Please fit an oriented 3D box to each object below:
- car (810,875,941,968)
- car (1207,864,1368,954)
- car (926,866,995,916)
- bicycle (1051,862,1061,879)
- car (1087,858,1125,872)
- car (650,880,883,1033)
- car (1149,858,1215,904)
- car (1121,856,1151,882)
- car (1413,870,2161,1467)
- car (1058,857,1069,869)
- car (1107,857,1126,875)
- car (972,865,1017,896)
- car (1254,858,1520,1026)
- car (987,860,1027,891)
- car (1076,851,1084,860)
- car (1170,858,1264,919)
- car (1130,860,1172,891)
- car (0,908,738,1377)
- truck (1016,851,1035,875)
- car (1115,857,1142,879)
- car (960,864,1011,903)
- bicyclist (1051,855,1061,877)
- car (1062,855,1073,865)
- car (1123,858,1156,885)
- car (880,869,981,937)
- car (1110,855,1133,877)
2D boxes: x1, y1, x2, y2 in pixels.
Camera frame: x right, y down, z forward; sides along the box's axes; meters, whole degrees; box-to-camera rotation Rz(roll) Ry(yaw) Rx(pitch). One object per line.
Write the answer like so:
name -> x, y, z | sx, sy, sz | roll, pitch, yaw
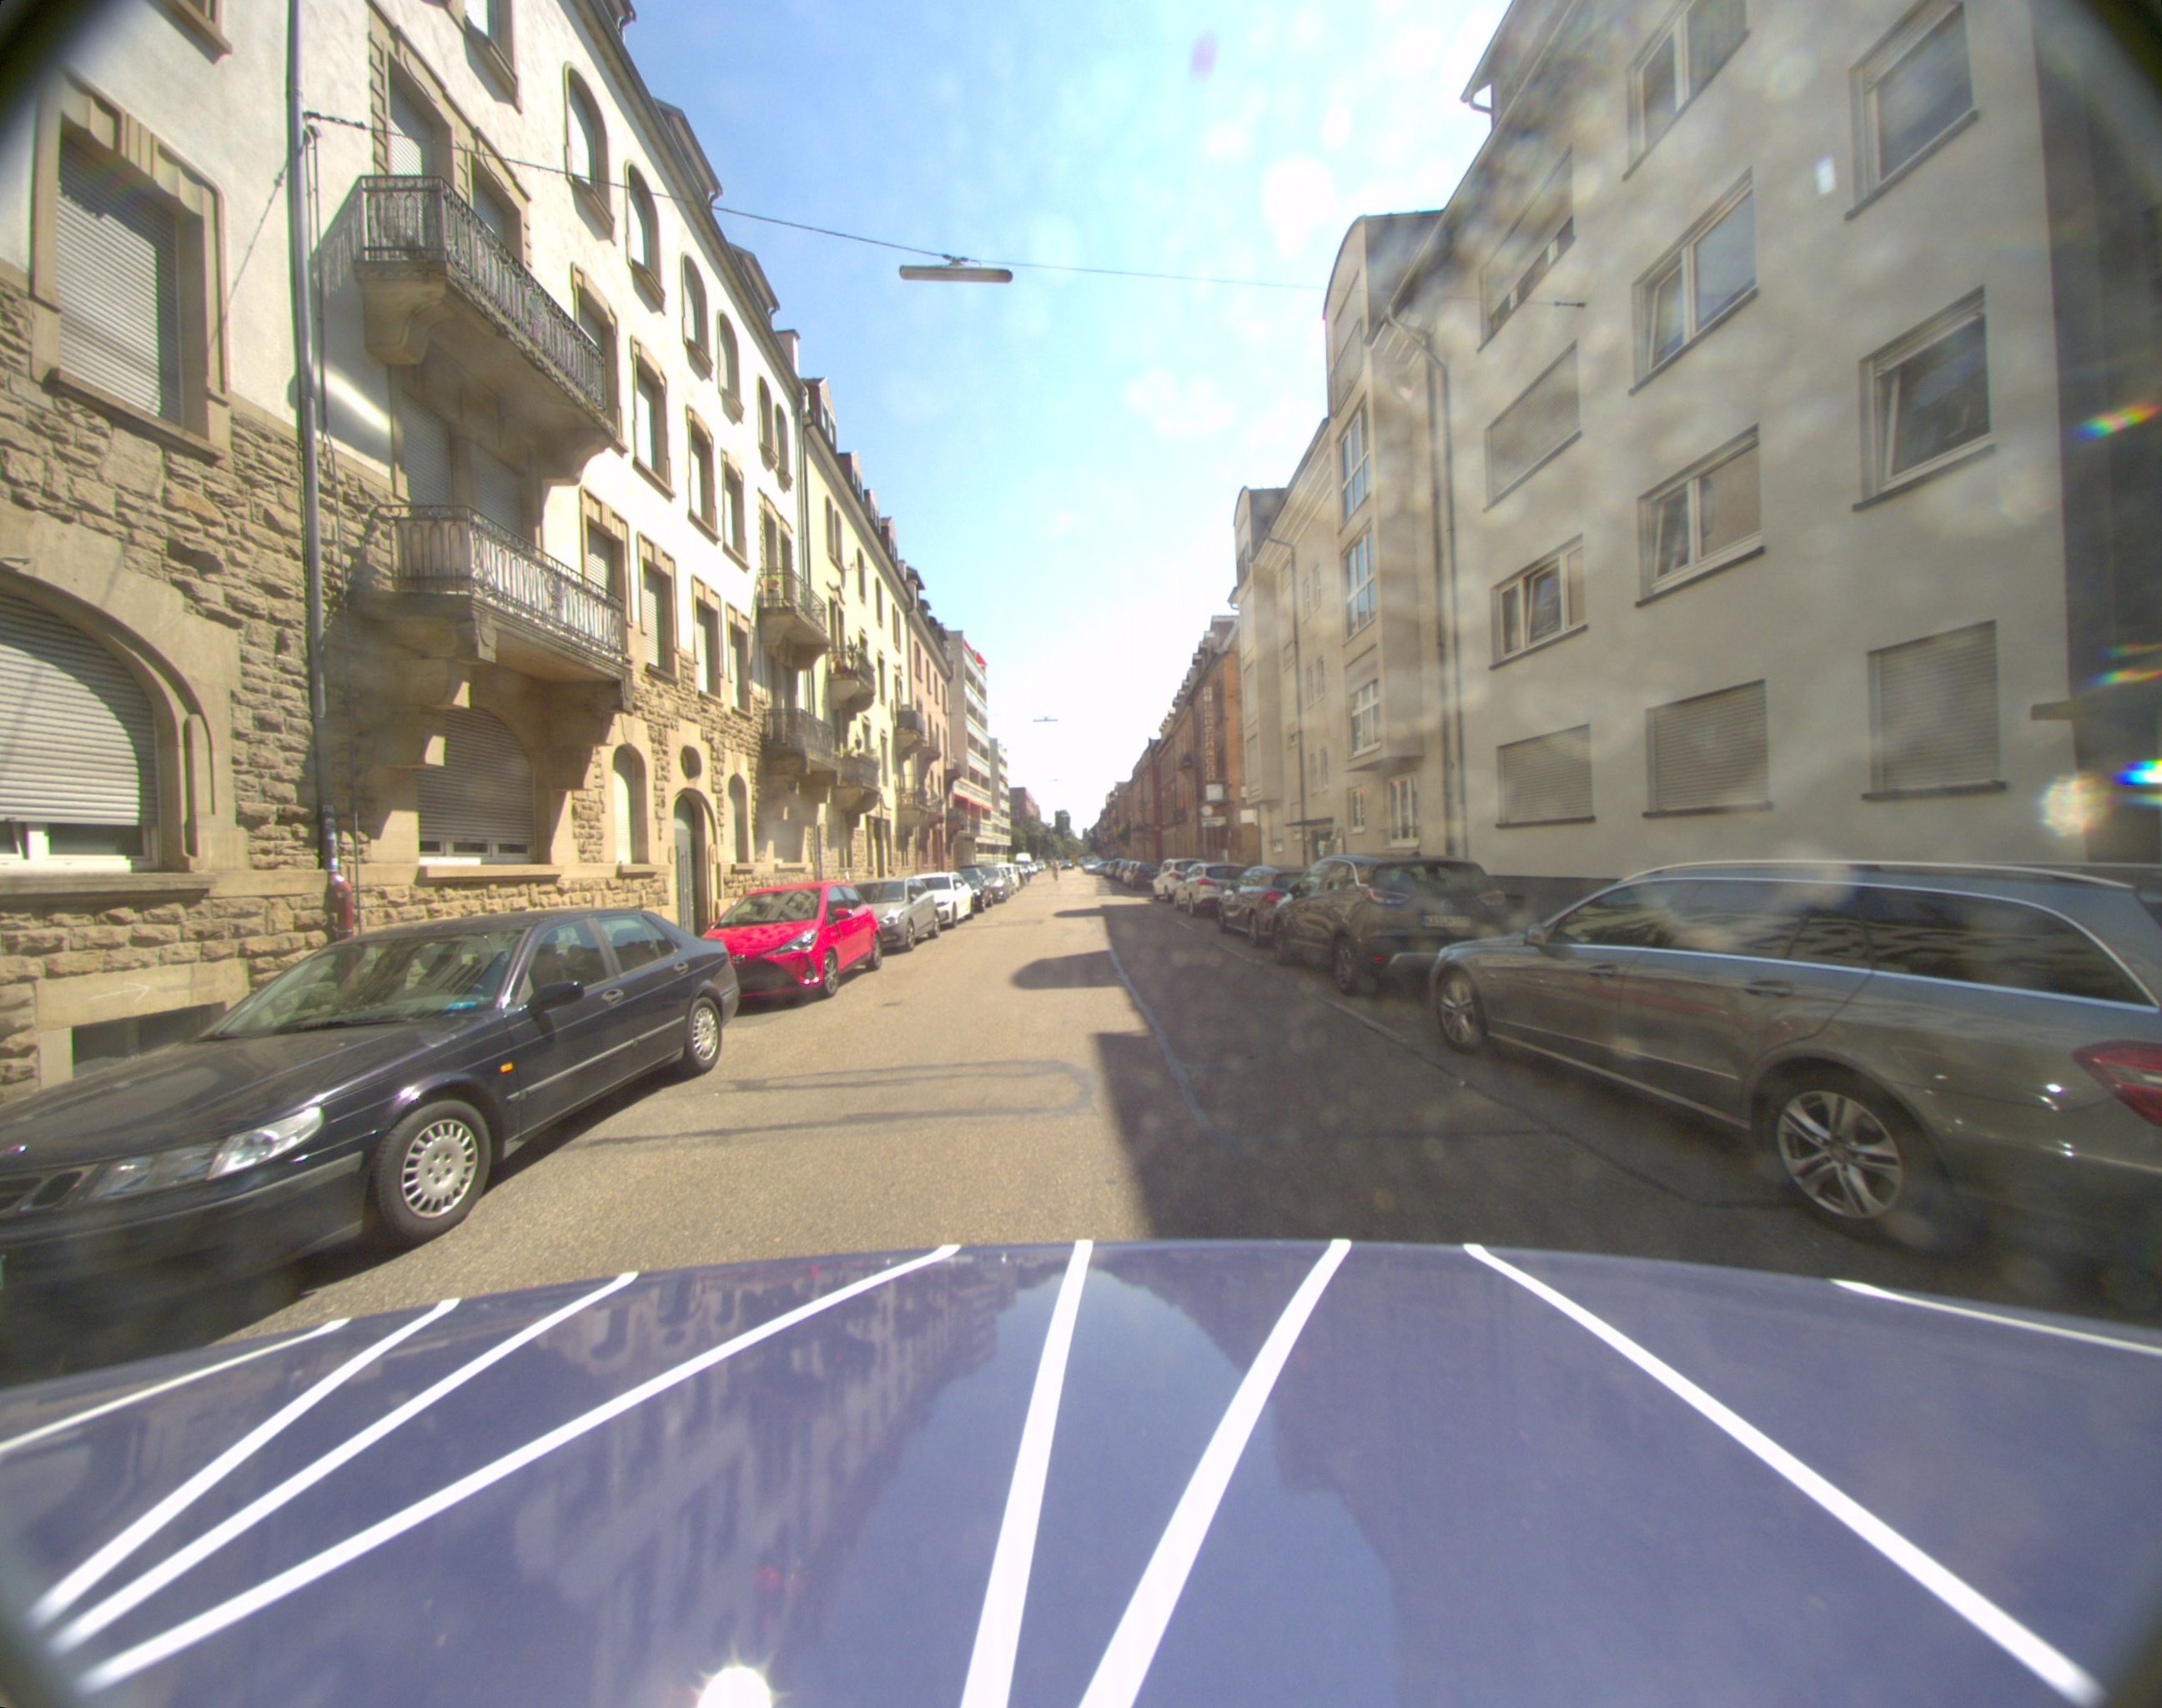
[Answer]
car -> -4.091, 1.283, 15.757 | 1.593, 1.444, 3.856 | -4, 0, 0
car -> 3.732, 0.923, 14.585 | 1.770, 1.385, 4.347 | 0, 0, -2
car -> -4.128, 1.228, 26.766 | 1.741, 1.449, 4.667 | -2, 0, -1
bicycle -> -1.863, 1.242, 57.005 | 0.671, 1.169, 2.094 | -2, 1, 0
car -> 2.716, 1.165, 81.755 | 3.997, 1.422, 1.678 | -2, 1, 0
car -> -4.011, 1.215, 10.415 | 1.574, 1.444, 3.842 | -4, 0, -2
car -> 3.745, 0.967, 28.686 | 1.633, 1.540, 3.851 | 2, 0, -5
car -> 3.560, 0.956, 49.564 | 1.450, 1.534, 3.524 | 2, 0, -4
car -> 3.701, 0.905, 4.060 | 1.661, 1.510, 4.670 | 0, 0, -2
car -> -2.967, 1.504, 131.202 | 1.827, 2.002, 3.867 | -2, 0, -1
car -> 3.011, 1.020, 65.035 | 1.450, 1.391, 3.525 | 2, 0, -1
car -> -4.290, 1.290, 38.368 | 1.791, 1.350, 4.352 | -2, 0, -1
car -> 3.507, 0.882, 9.560 | 1.608, 1.634, 3.976 | 0, 0, -2
car -> -4.180, 1.177, 43.410 | 1.652, 1.613, 4.092 | -2, 0, 3
car -> -0.237, 0.412, 178.852 | 1.785, 2.002, 4.000 | -2, 0, 2
car -> 3.745, 0.904, 21.665 | 1.735, 1.486, 4.347 | 1, 0, -2
car -> 3.567, 1.065, 39.407 | 1.782, 1.421, 3.836 | 2, 0, 0
car -> -3.801, 1.242, 4.863 | 1.516, 1.390, 3.971 | -4, 0, -4
truck -> -6.543, 1.019, 89.832 | 1.869, 2.715, 4.507 | -2, 1, -1
car -> 3.346, 0.988, 53.906 | 1.450, 1.464, 3.524 | 2, 0, -3
car -> -4.041, 1.207, 32.729 | 1.828, 1.423, 4.488 | -3, 0, -3
bicyclist -> -1.874, 0.908, 57.027 | 0.645, 1.640, 0.622 | -2, 1, -1
car -> -2.163, 0.965, 122.648 | 1.625, 1.600, 3.596 | -2, 0, -2
car -> 3.402, 0.996, 44.691 | 1.632, 1.421, 3.678 | 2, 0, 0
car -> -4.057, 1.274, 21.226 | 1.720, 1.444, 4.597 | -4, 0, 1
car -> 3.194, 0.915, 60.102 | 1.450, 1.633, 3.525 | 2, 0, -2
